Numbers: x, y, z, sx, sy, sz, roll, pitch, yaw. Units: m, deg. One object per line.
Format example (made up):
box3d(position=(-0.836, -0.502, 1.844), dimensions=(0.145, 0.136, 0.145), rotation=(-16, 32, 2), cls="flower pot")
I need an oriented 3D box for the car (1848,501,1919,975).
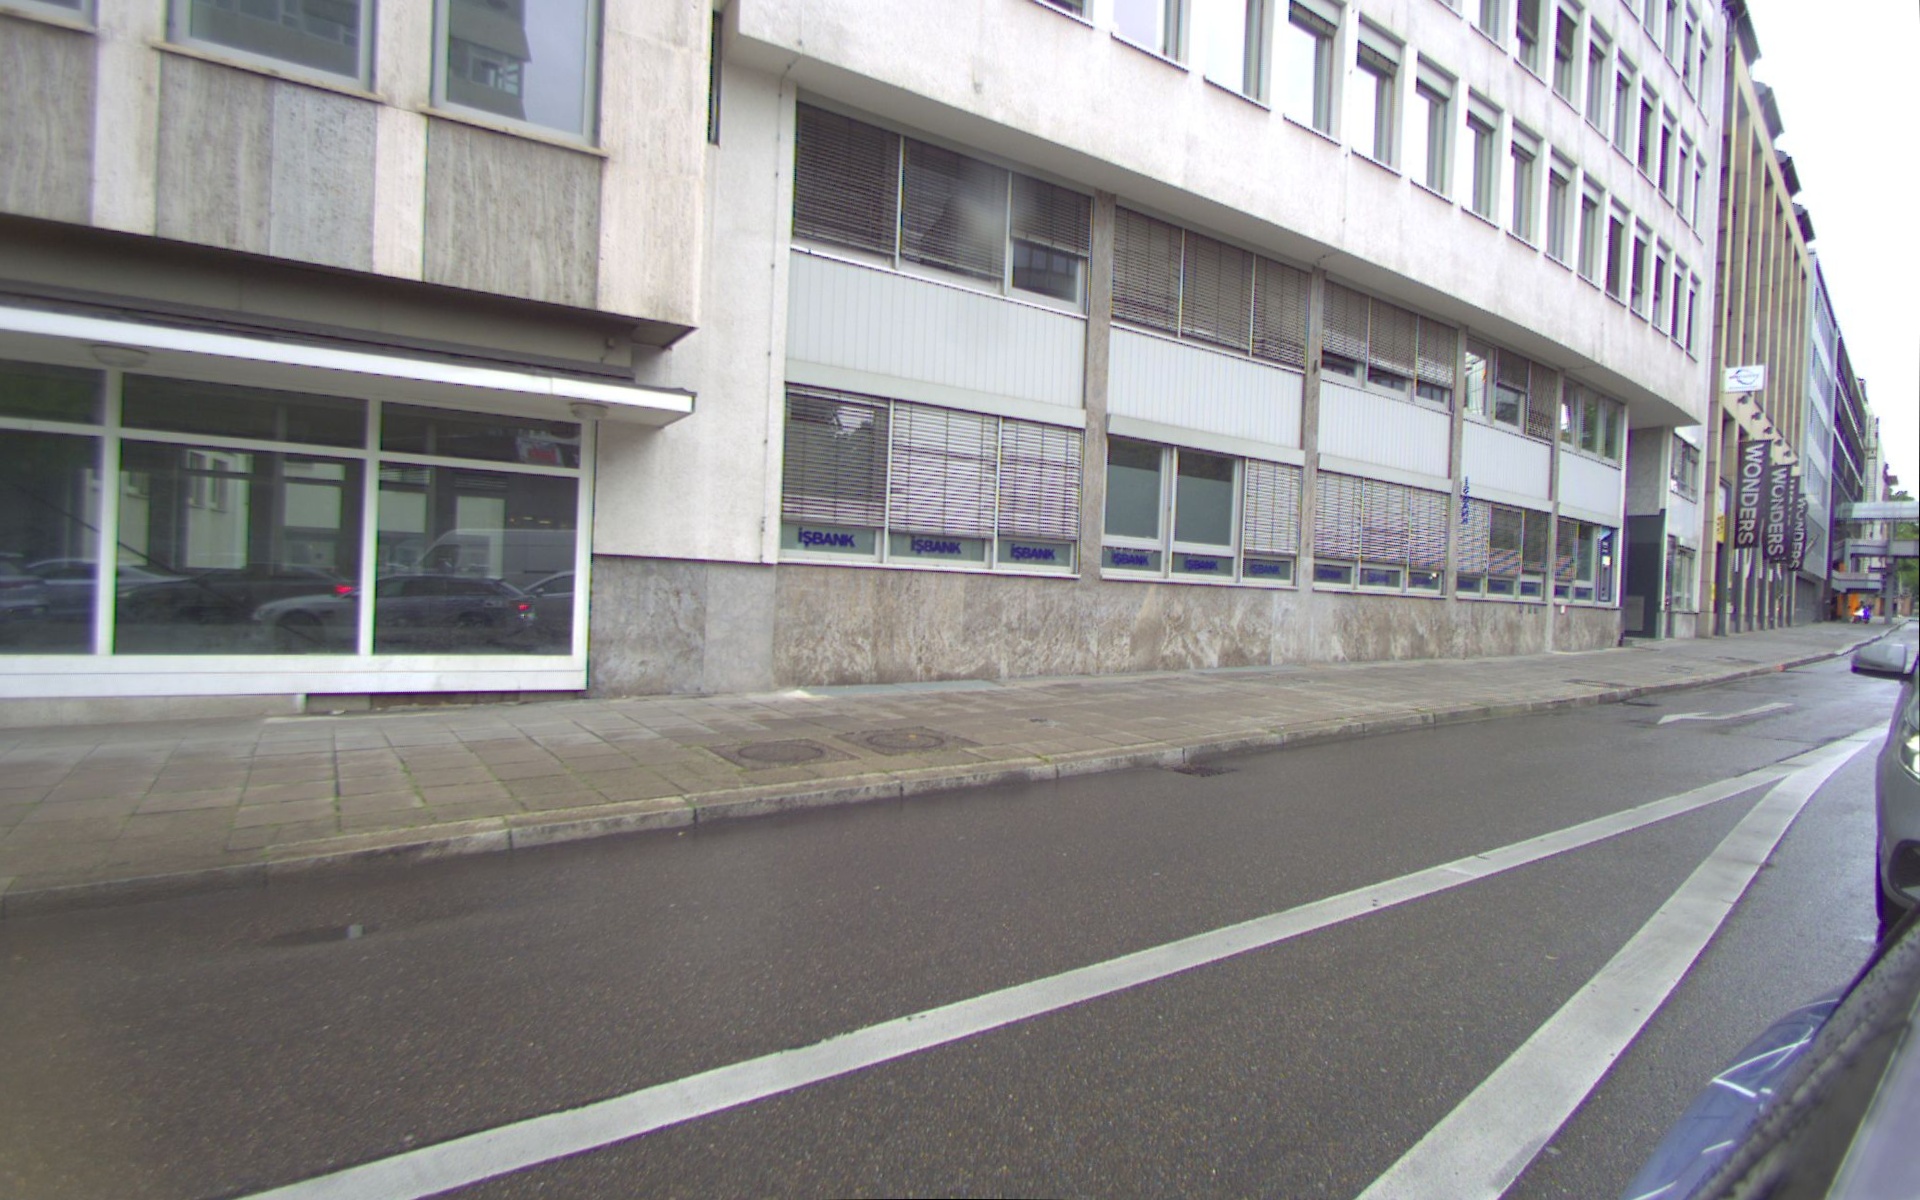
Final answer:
box3d(position=(6.132, 0.559, 5.123), dimensions=(4.940, 1.879, 1.914), rotation=(0, 0, -42), cls="car")
